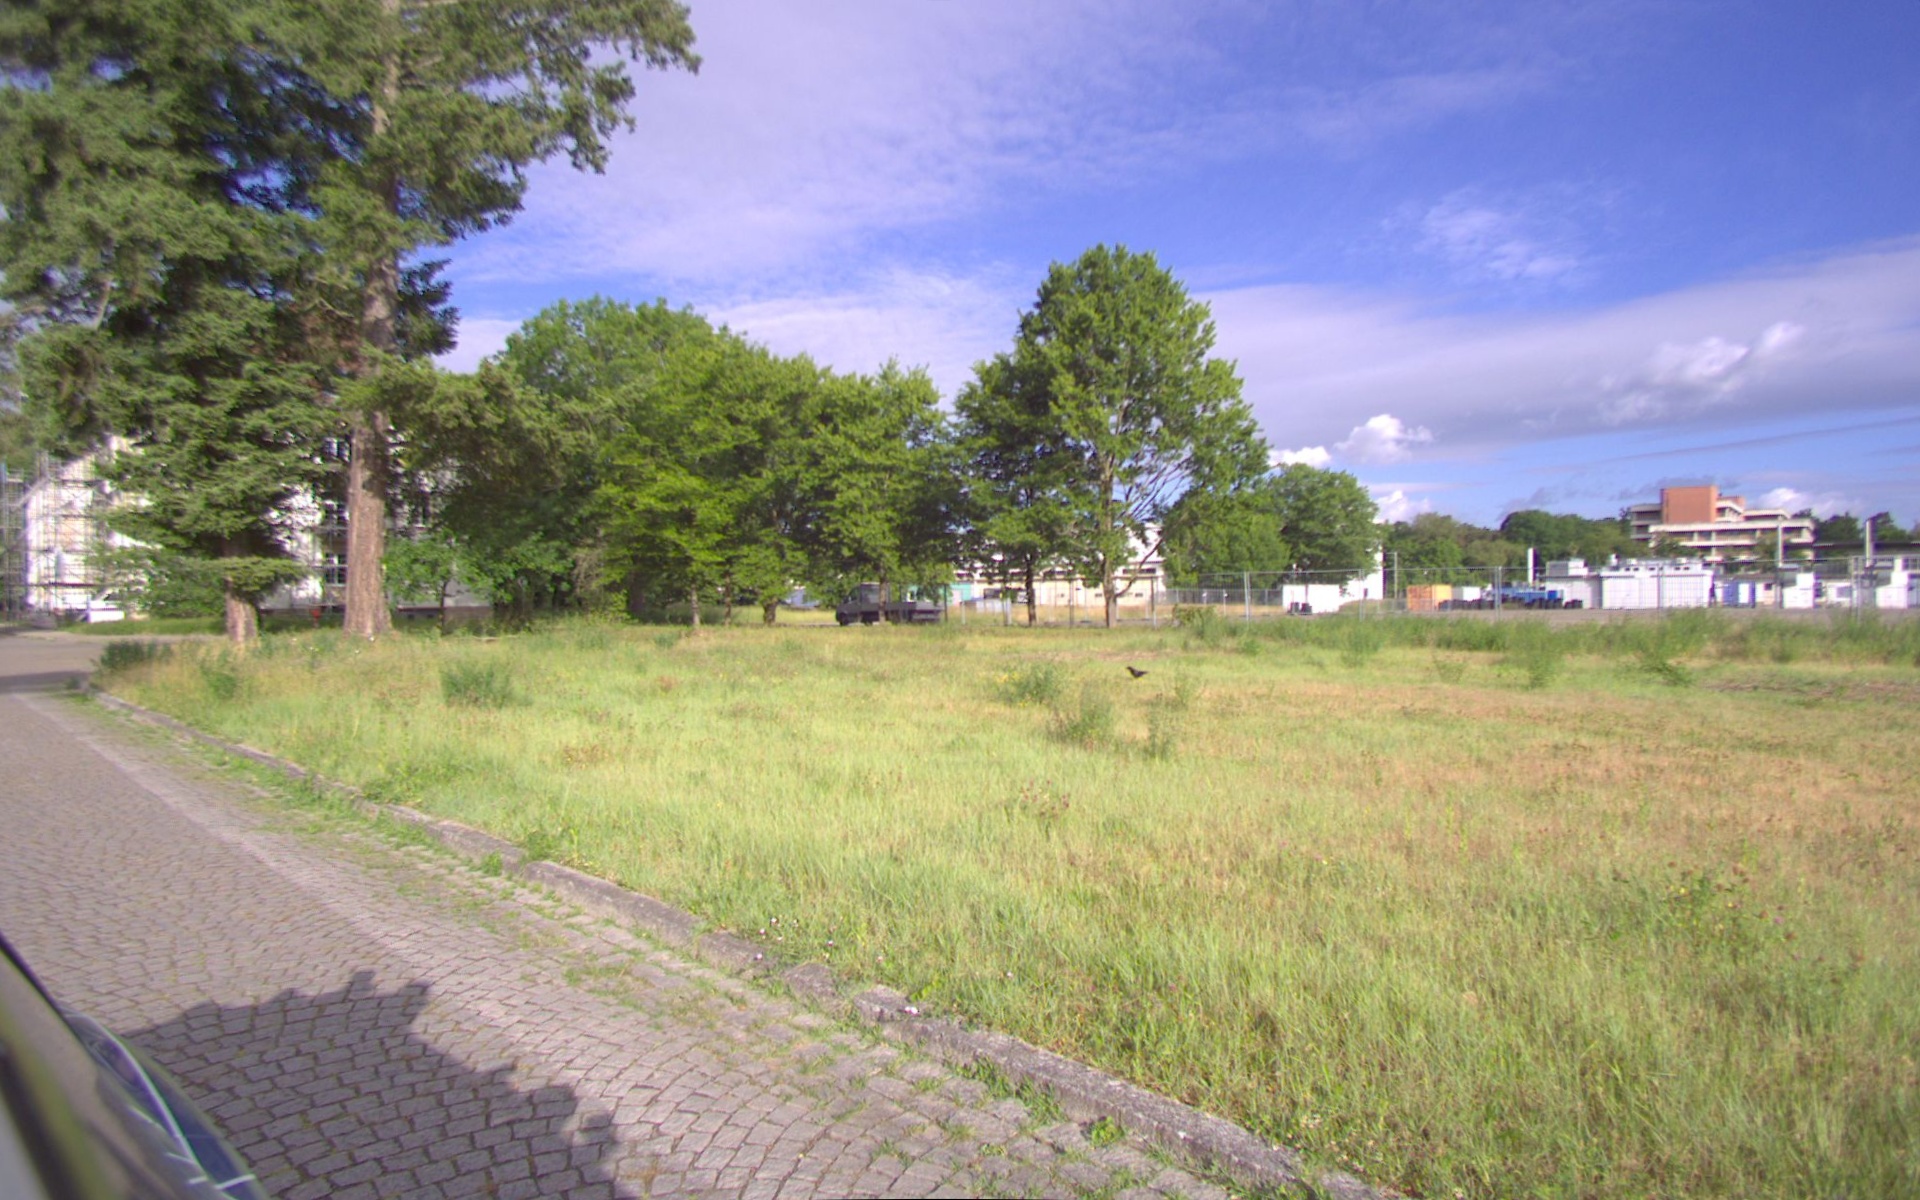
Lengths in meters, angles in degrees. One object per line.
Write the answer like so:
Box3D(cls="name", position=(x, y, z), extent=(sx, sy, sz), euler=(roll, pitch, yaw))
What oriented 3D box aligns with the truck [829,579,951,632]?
Box3D(cls="truck", position=(-3.730, 0.298, 52.603), extent=(2.384, 2.606, 6.963), euler=(-1, 0, -44))
